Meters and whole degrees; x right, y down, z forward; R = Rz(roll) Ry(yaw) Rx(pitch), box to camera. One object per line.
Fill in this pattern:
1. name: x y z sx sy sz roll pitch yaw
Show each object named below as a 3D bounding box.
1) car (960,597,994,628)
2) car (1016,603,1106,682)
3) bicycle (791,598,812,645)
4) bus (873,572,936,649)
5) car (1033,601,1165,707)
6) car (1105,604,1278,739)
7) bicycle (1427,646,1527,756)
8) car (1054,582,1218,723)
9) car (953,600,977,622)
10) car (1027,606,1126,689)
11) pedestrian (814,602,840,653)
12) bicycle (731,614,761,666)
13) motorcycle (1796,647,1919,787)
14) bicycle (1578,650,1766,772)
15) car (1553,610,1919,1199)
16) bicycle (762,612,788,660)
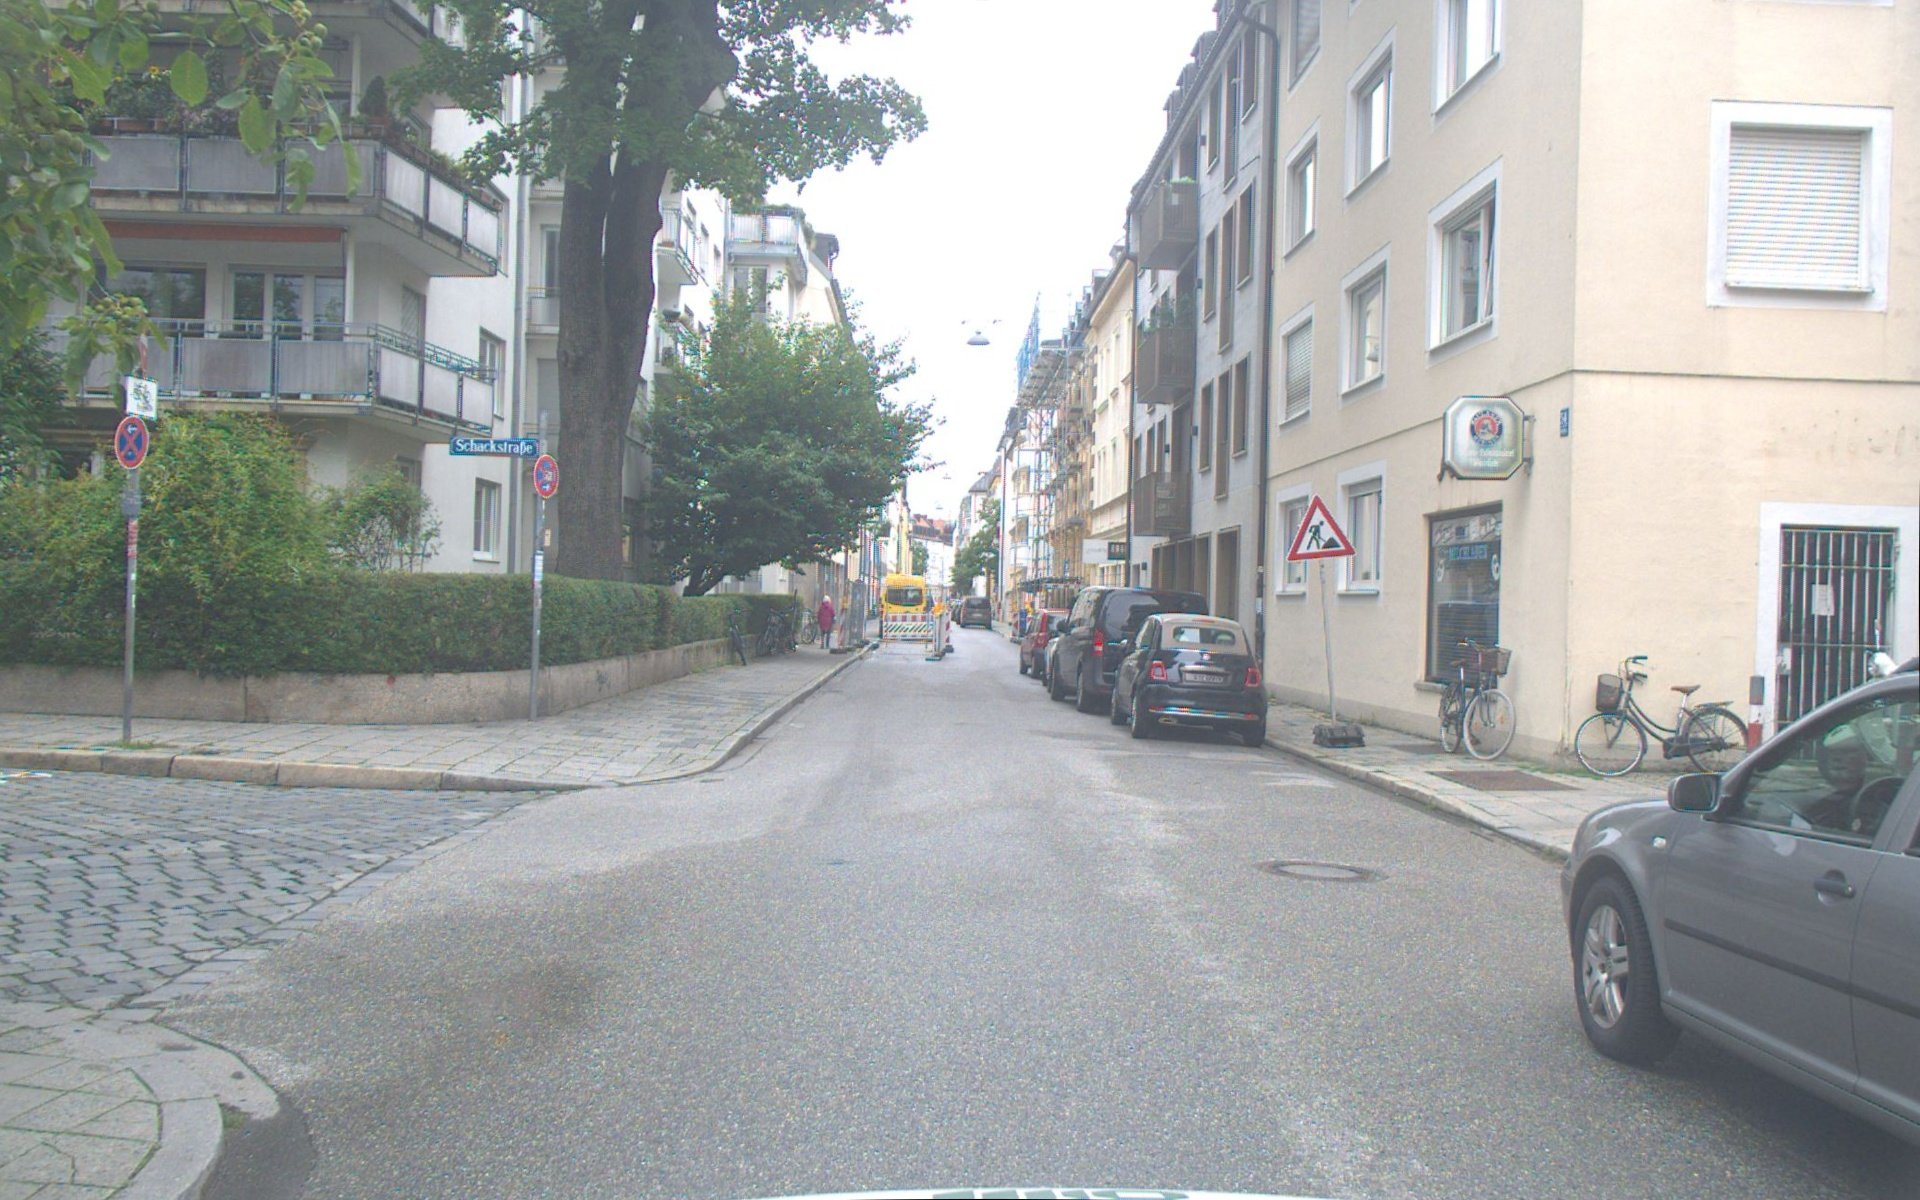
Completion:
1. car: 1.051 0.763 103.078 1.766 1.741 3.824 5 0 -3
2. car: 2.228 0.923 37.367 1.603 1.541 3.828 5 0 -1
3. bicycle: -4.957 0.672 51.901 0.504 1.442 1.933 1 -1 -1
4. bus: -2.321 0.470 71.118 2.540 3.156 6.304 1 -1 -1
5. car: 2.415 0.903 29.584 1.765 1.595 3.998 5 0 -2
6. car: 2.859 0.837 21.138 1.592 1.513 3.807 2 0 -1
7. bicycle: 5.350 1.020 17.181 0.464 1.044 1.705 -1 -1 -1
8. car: 2.616 0.745 25.494 1.766 1.851 3.997 5 0 -3
9. car: 0.392 0.856 131.532 1.764 1.642 3.999 2 0 -1
10. car: 2.311 0.926 33.595 1.532 1.458 3.413 5 0 -2
11. pedestrian: -4.048 0.840 50.344 0.740 1.517 0.831 1 -1 -1
12. bicycle: -4.339 0.799 33.571 0.406 1.038 1.853 1 -1 -1
13. motorcycle: 8.219 1.002 14.033 0.617 1.127 1.897 2 0 -43
14. bicycle: 6.477 1.001 15.072 1.505 1.044 0.475 -1 0 -4
15. car: 3.199 0.800 4.314 1.709 1.470 3.998 2 0 -2
16. bicycle: -4.367 0.827 39.108 0.437 1.092 2.466 1 -1 -3
